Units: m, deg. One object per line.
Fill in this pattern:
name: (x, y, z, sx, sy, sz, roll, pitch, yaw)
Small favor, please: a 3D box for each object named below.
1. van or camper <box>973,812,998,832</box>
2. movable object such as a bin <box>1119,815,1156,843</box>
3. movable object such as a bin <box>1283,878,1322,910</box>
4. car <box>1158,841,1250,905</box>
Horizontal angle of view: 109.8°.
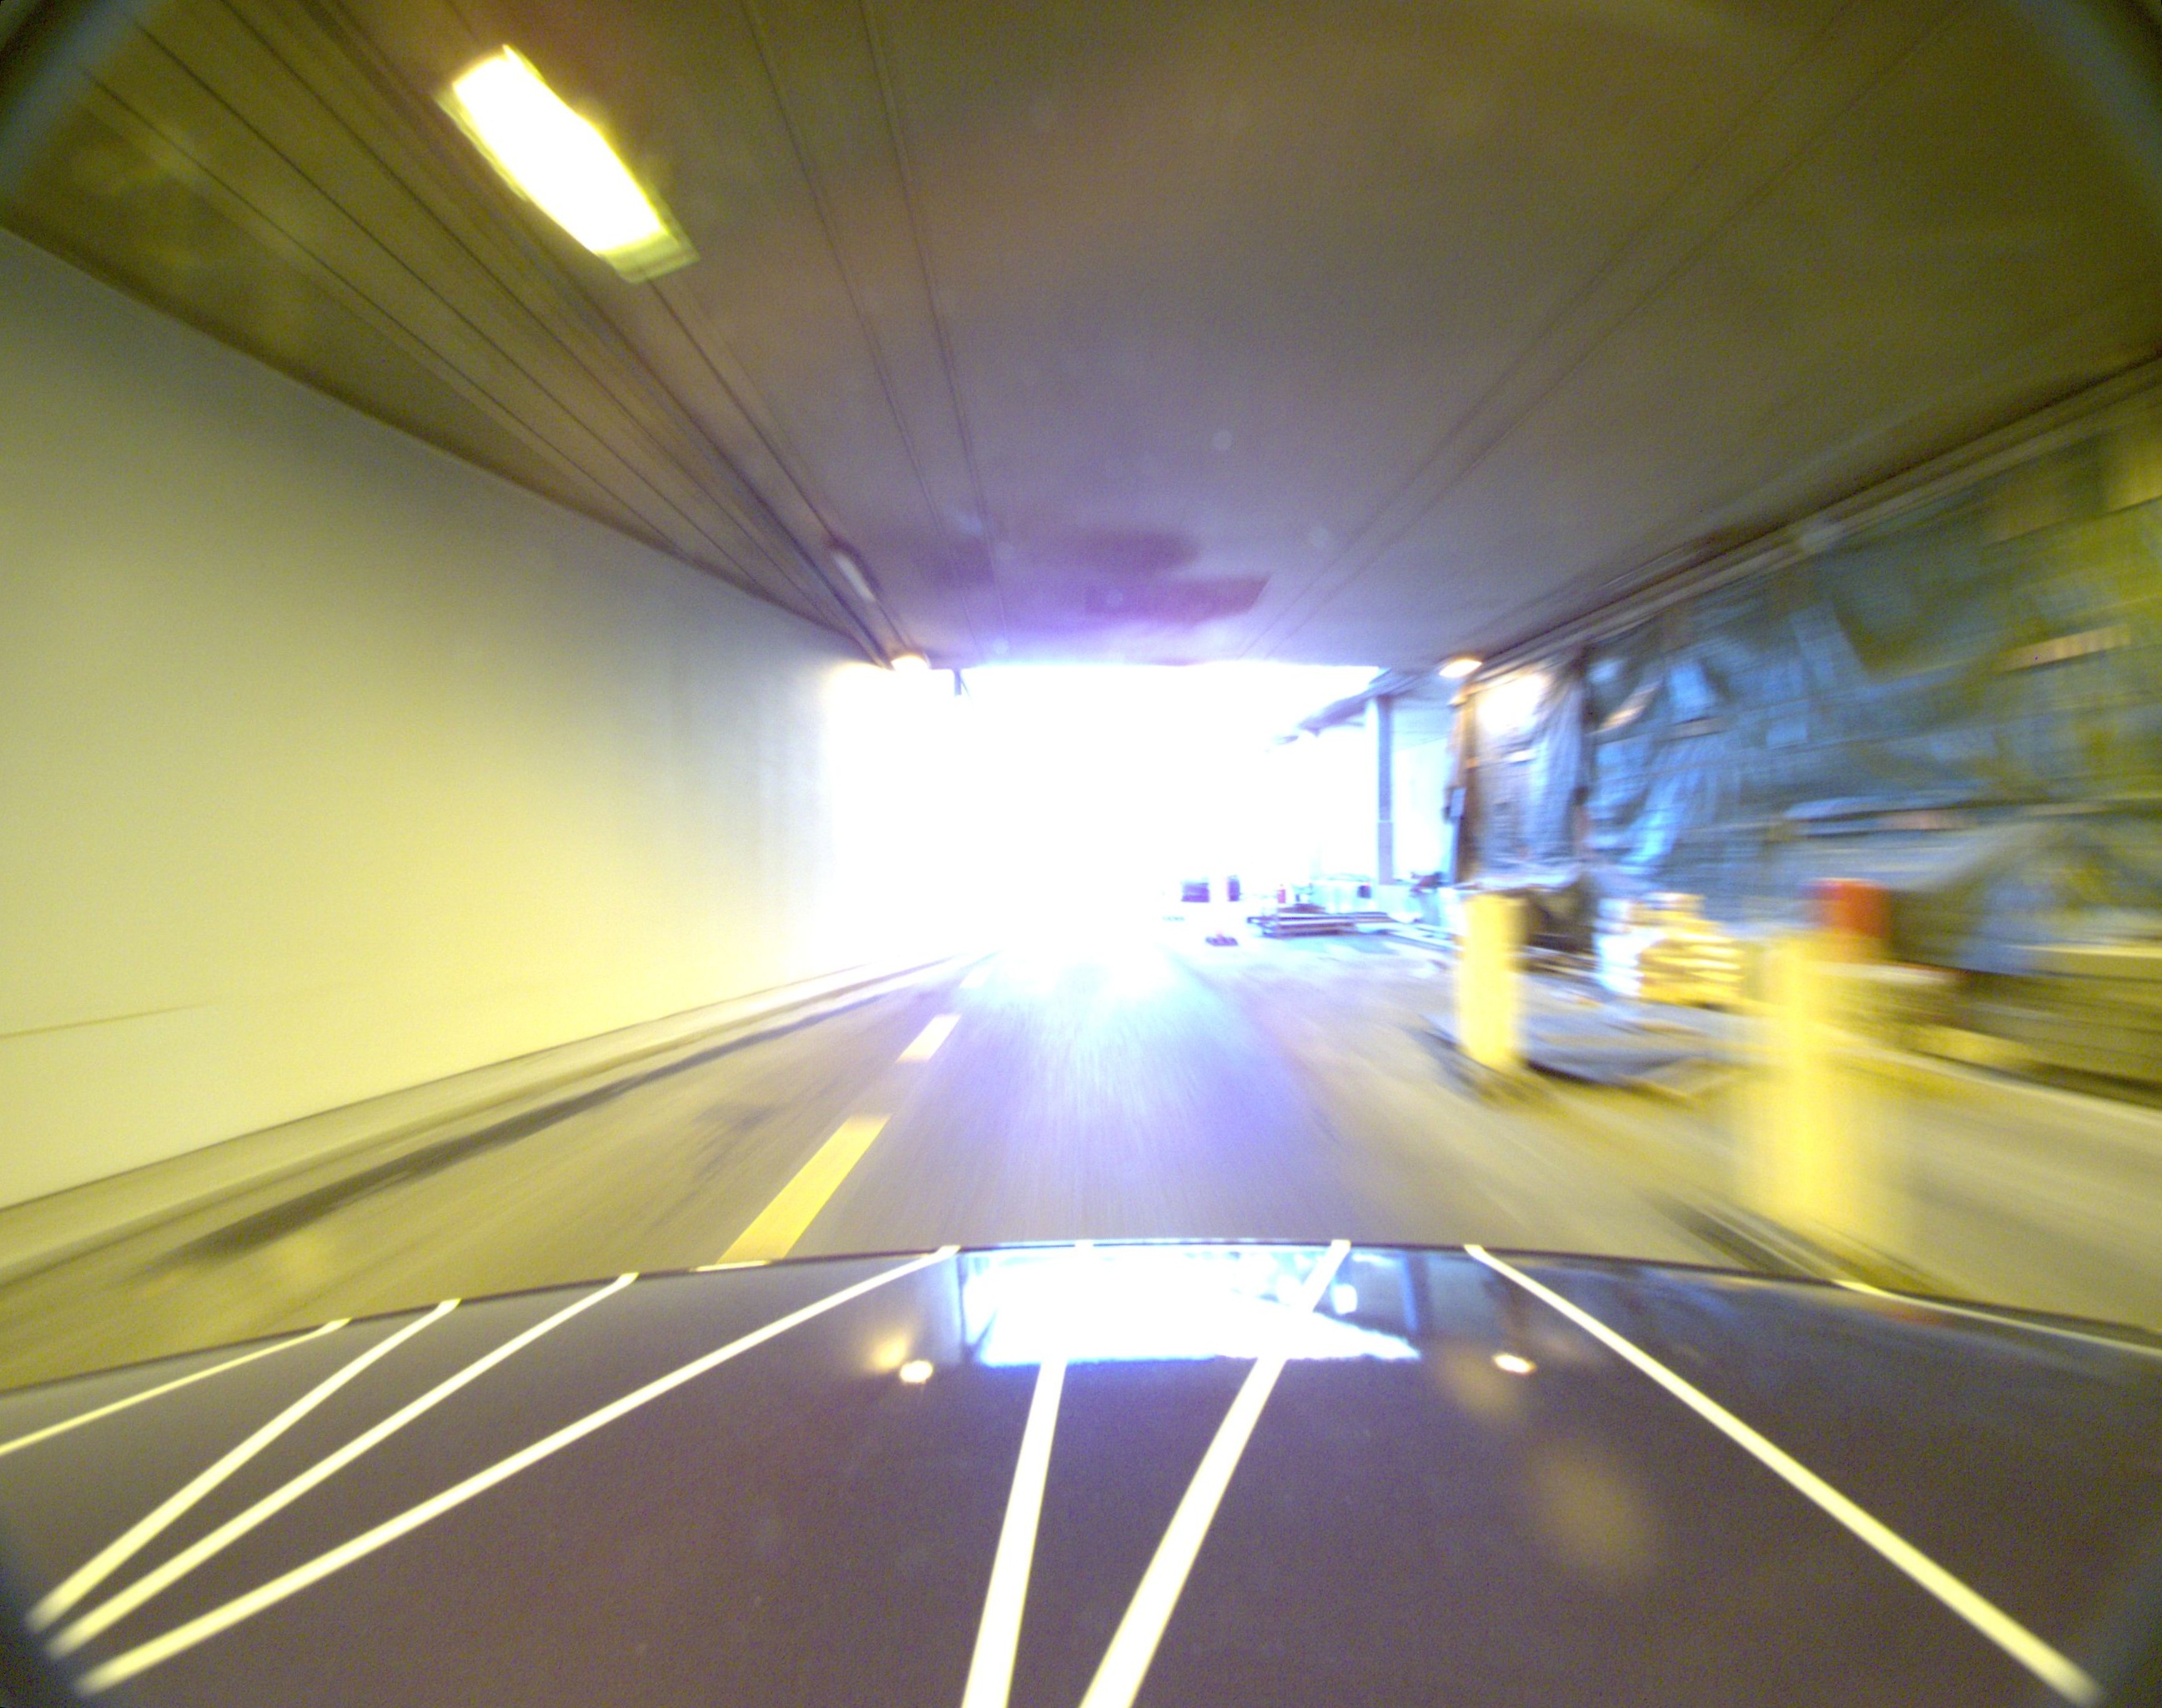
van or camper: (-13.649, -4.566, 108.483, 2.202, 2.599, 6.810, -4, 4, -18)
movable object such as a bin: (4.221, -1.861, 56.718, 1.892, 1.976, 3.153, -2, 3, -12)
movable object such as a bin: (5.770, 1.024, 19.814, 0.653, 0.737, 1.031, -1, 2, -5)
car: (3.747, 0.507, 23.921, 1.853, 1.765, 4.431, -2, 1, -4)
